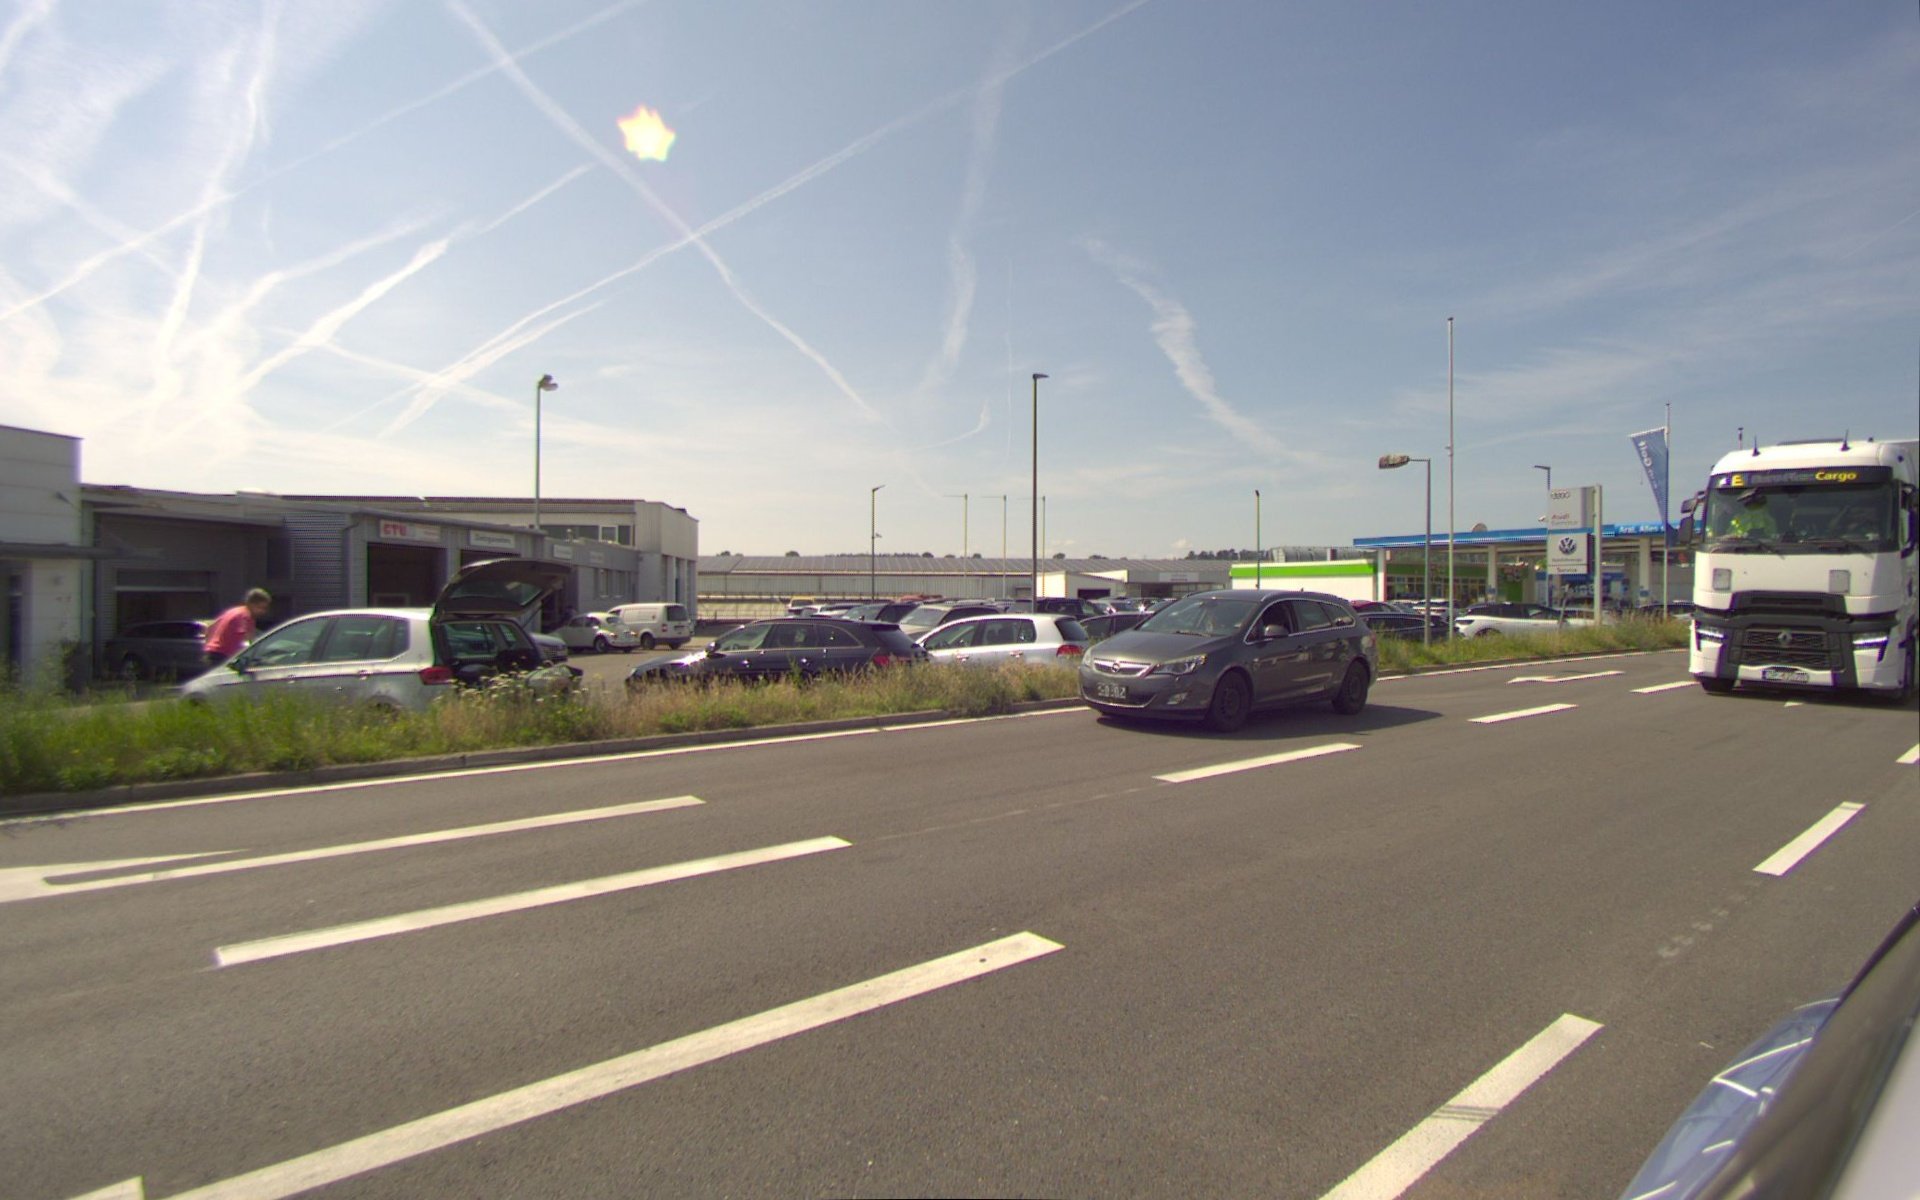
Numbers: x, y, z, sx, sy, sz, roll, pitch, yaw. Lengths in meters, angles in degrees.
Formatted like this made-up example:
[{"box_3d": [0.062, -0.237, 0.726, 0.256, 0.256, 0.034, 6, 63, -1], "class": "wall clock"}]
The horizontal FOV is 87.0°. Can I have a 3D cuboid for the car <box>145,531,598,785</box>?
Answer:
[{"box_3d": [-6.102, 0.462, 10.518, 4.295, 2.240, 1.752, 1, 1, 20], "class": "car"}]

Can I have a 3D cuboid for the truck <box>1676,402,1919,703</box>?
[{"box_3d": [14.223, -0.662, 16.493, 5.933, 4.037, 2.647, 0, 1, -39], "class": "truck"}]

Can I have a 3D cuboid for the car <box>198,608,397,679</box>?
[{"box_3d": [-17.177, 1.105, 26.353, 4.095, 1.675, 1.775, 1, 1, 4], "class": "car"}]

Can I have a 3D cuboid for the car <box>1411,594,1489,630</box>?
[{"box_3d": [24.799, 0.582, 51.167, 4.179, 1.734, 1.714, 0, 1, -36], "class": "car"}]

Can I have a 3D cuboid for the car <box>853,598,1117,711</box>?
[{"box_3d": [0.408, 0.802, 16.404, 3.953, 1.578, 1.700, 1, 1, 22], "class": "car"}]

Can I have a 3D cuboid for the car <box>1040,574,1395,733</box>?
[{"box_3d": [3.187, 0.504, 12.041, 4.372, 1.538, 1.997, 0, 1, -42], "class": "car"}]

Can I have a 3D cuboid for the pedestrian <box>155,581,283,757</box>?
[{"box_3d": [-8.581, 0.760, 11.739, 0.974, 1.935, 0.740, 1, 0, 15], "class": "pedestrian"}]

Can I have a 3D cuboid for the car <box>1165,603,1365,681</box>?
[{"box_3d": [6.616, 0.845, 21.954, 3.957, 1.476, 1.761, 1, 1, 25], "class": "car"}]

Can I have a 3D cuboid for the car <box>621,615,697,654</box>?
[{"box_3d": [-15.131, 1.704, 50.803, 3.899, 1.751, 1.953, 2, 1, 43], "class": "car"}]

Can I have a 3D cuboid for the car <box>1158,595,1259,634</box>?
[{"box_3d": [10.705, 0.590, 43.446, 4.452, 1.545, 1.691, 0, 1, -36], "class": "car"}]

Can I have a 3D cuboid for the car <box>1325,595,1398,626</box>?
[{"box_3d": [22.030, 0.540, 55.459, 4.242, 1.600, 1.722, 0, 1, -36], "class": "car"}]

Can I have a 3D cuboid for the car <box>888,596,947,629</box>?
[{"box_3d": [-2.347, 0.632, 54.577, 2.025, 1.675, 4.547, 1, 0, -17], "class": "car"}]

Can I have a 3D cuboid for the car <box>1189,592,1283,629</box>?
[{"box_3d": [13.329, 0.484, 48.799, 4.448, 1.675, 1.777, 0, 1, -32], "class": "car"}]

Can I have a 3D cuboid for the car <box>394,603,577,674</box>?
[{"box_3d": [-12.278, 0.953, 26.296, 4.009, 1.675, 1.772, 1, 1, 9], "class": "car"}]

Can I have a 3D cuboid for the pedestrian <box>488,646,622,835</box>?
[{"box_3d": [-3.798, 1.275, 9.542, 0.747, 1.604, 0.933, 1, 0, 17], "class": "pedestrian"}]

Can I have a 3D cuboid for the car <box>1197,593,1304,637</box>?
[{"box_3d": [11.866, 0.577, 41.221, 4.452, 1.675, 1.776, 0, 1, -36], "class": "car"}]

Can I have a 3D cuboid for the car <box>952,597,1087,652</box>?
[{"box_3d": [1.992, 0.762, 33.283, 4.352, 1.675, 1.775, 0, 1, -38], "class": "car"}]

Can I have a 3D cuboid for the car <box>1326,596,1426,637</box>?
[{"box_3d": [17.448, 0.671, 42.342, 4.452, 1.600, 1.776, 0, 1, -36], "class": "car"}]

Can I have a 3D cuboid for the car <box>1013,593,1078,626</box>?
[{"box_3d": [4.764, 0.505, 57.105, 2.025, 1.750, 4.548, 1, 1, -17], "class": "car"}]

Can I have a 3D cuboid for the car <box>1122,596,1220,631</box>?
[{"box_3d": [9.520, 0.584, 45.476, 4.452, 1.459, 1.776, 0, 1, -36], "class": "car"}]

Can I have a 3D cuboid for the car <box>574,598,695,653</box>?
[{"box_3d": [-12.866, 0.971, 40.003, 4.484, 1.973, 1.763, 1, 1, 22], "class": "car"}]

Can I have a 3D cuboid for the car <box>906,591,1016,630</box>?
[{"box_3d": [0.038, 0.458, 44.388, 4.442, 1.603, 1.827, 1, 1, -19], "class": "car"}]

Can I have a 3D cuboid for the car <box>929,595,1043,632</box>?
[{"box_3d": [1.068, 0.549, 42.065, 4.390, 1.449, 1.827, 1, 1, -19], "class": "car"}]

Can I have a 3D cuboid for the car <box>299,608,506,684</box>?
[{"box_3d": [-12.961, 1.041, 23.653, 4.008, 1.629, 1.690, 1, -1, 8], "class": "car"}]

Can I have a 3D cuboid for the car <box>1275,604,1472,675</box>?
[{"box_3d": [10.421, 0.955, 25.852, 4.479, 1.600, 1.765, 1, 1, 19], "class": "car"}]

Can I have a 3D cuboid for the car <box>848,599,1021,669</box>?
[{"box_3d": [-0.613, 0.839, 27.326, 4.633, 1.675, 1.904, 0, 1, -45], "class": "car"}]

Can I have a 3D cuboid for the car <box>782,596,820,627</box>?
[{"box_3d": [-10.651, 0.716, 68.171, 2.167, 1.955, 4.164, 1, 1, -4], "class": "car"}]

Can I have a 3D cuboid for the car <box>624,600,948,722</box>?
[{"box_3d": [-2.477, 0.785, 14.571, 4.285, 1.470, 1.766, 1, 1, 18], "class": "car"}]

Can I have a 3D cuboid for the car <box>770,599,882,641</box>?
[{"box_3d": [-5.725, 0.829, 43.362, 4.453, 1.675, 1.776, 0, 1, -36], "class": "car"}]

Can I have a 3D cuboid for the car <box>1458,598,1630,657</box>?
[{"box_3d": [18.309, 0.818, 31.995, 4.487, 1.675, 1.762, 1, 1, 24], "class": "car"}]

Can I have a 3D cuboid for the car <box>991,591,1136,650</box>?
[{"box_3d": [3.257, 0.596, 31.361, 4.454, 1.675, 1.775, 0, 1, -38], "class": "car"}]

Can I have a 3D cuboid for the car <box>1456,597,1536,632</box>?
[{"box_3d": [26.028, 0.699, 49.122, 4.069, 1.600, 1.776, 0, 1, -36], "class": "car"}]

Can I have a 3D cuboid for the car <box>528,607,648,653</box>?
[{"box_3d": [-13.725, 1.088, 37.366, 4.028, 1.510, 1.764, 1, 1, 21], "class": "car"}]

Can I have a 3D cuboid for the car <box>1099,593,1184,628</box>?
[{"box_3d": [8.632, 0.484, 48.091, 4.051, 1.551, 1.609, 0, 1, -36], "class": "car"}]

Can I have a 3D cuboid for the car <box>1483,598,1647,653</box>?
[{"box_3d": [20.205, 0.816, 34.031, 4.490, 1.675, 1.761, 1, 1, 25], "class": "car"}]

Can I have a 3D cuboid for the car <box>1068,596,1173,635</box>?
[{"box_3d": [6.628, 0.599, 42.181, 1.910, 1.477, 4.544, 1, 1, -29], "class": "car"}]

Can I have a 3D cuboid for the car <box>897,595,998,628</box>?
[{"box_3d": [-0.595, 0.554, 48.331, 4.442, 1.493, 1.827, 1, 1, -19], "class": "car"}]

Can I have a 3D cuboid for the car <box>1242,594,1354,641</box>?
[{"box_3d": [13.022, 0.631, 38.890, 4.452, 1.675, 1.776, 0, 1, -36], "class": "car"}]

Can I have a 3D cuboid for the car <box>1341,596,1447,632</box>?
[{"box_3d": [21.019, 0.647, 49.178, 1.742, 1.600, 4.540, 0, 1, -33], "class": "car"}]

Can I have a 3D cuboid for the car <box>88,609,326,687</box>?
[{"box_3d": [-17.823, 1.104, 24.075, 4.468, 1.675, 1.775, 1, 1, 4], "class": "car"}]

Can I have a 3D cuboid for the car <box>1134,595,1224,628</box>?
[{"box_3d": [11.538, 0.614, 53.391, 4.444, 1.675, 1.779, 1, 1, -25], "class": "car"}]

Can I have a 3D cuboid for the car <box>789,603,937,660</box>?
[{"box_3d": [-3.080, 0.969, 32.551, 4.452, 1.675, 1.776, 0, 1, -36], "class": "car"}]

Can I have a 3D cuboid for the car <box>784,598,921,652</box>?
[{"box_3d": [-3.713, 0.836, 35.338, 4.452, 1.751, 1.823, 0, 1, -35], "class": "car"}]

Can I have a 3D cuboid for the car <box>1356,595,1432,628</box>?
[{"box_3d": [22.804, 0.588, 53.109, 4.158, 1.600, 1.776, 0, 1, -36], "class": "car"}]

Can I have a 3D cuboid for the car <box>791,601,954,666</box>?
[{"box_3d": [-2.450, 0.894, 29.158, 4.464, 1.675, 1.964, 0, 1, -45], "class": "car"}]

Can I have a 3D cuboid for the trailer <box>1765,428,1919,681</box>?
[{"box_3d": [20.057, -0.781, 21.320, 11.090, 4.280, 2.612, 0, 1, -40], "class": "trailer"}]

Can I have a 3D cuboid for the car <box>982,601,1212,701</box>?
[{"box_3d": [2.512, 0.856, 18.336, 3.941, 1.572, 1.768, 1, 1, 14], "class": "car"}]
